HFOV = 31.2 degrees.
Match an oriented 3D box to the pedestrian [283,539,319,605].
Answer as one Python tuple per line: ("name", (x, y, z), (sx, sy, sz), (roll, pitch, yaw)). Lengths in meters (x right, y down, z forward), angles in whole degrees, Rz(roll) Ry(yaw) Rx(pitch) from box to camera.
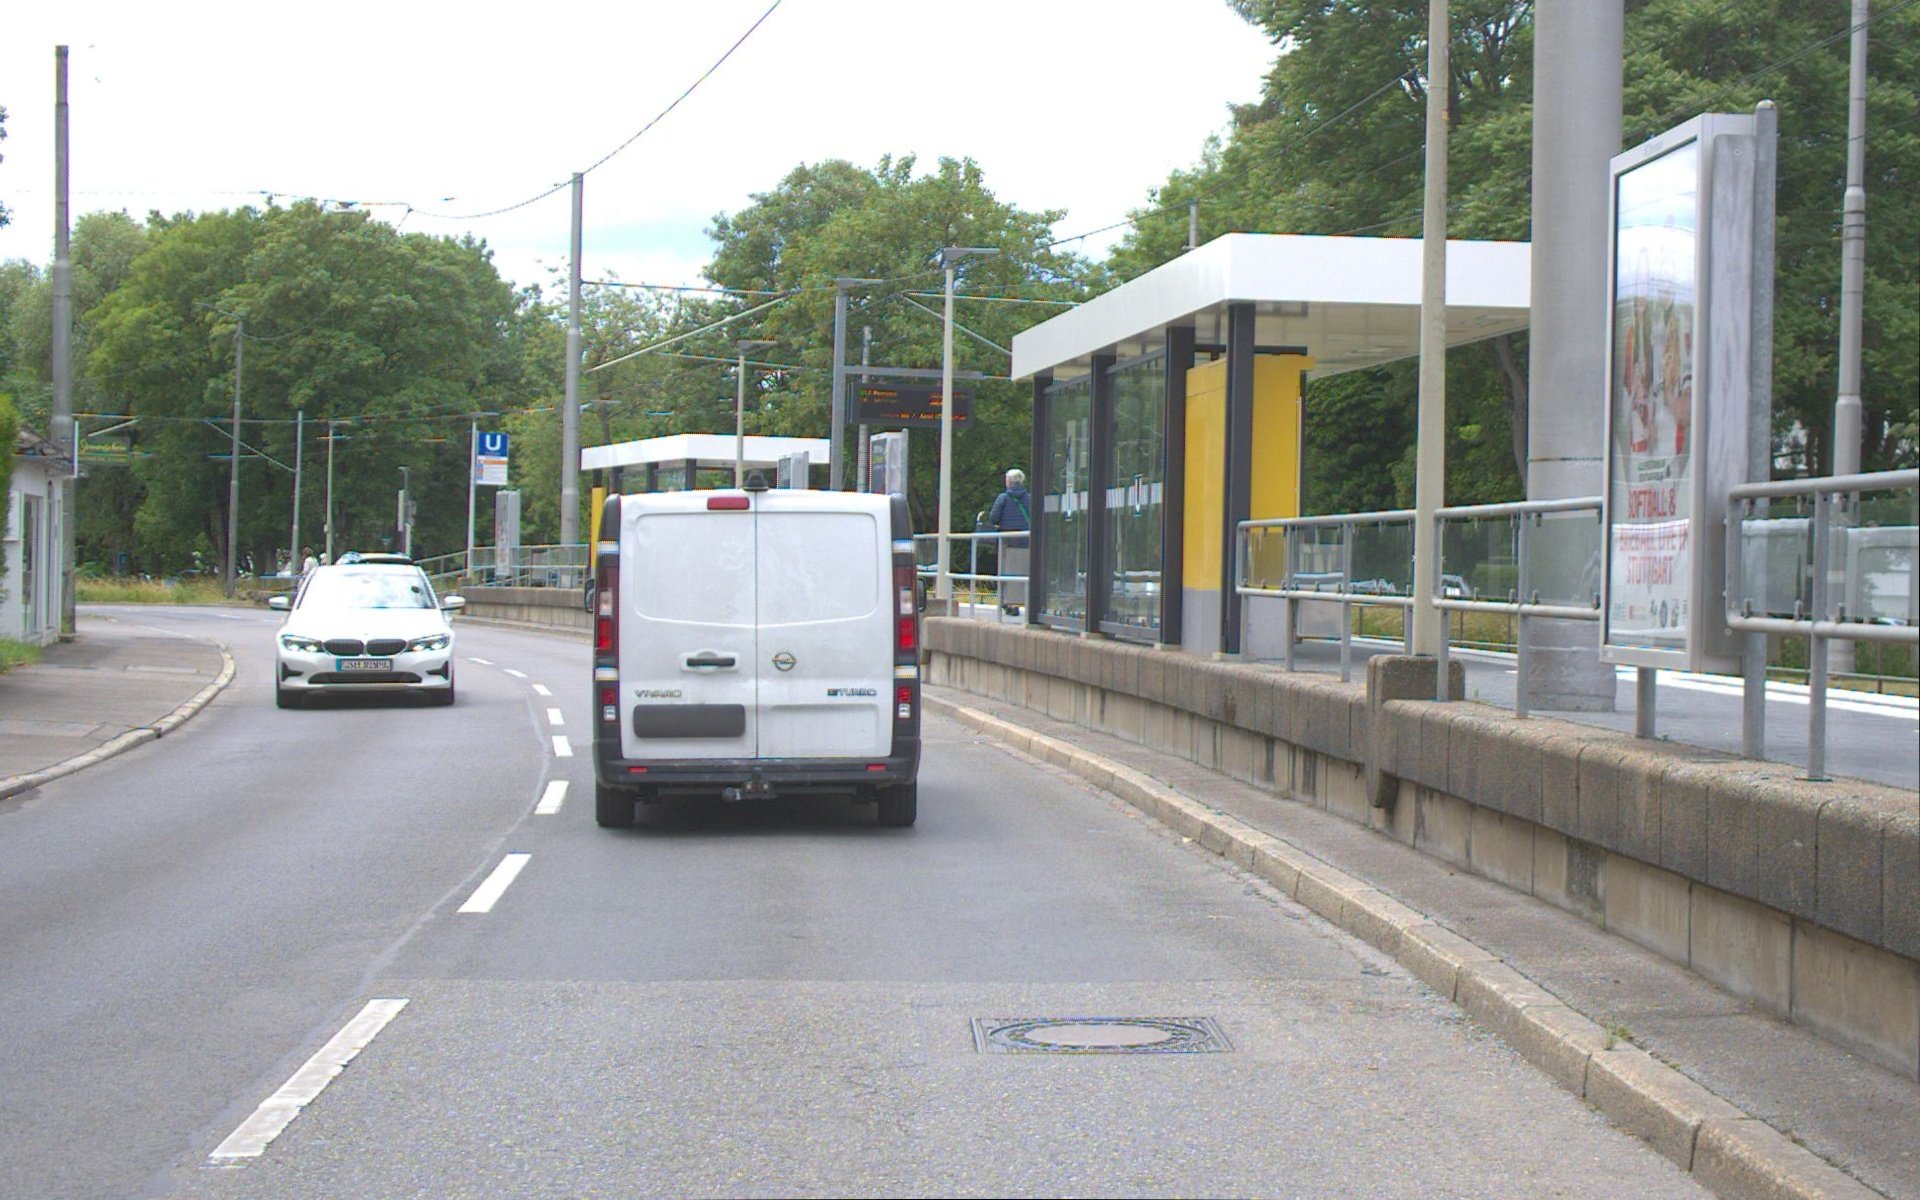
("pedestrian", (-18.262, -0.777, 95.280), (0.759, 1.789, 0.630), (1, 0, -42))

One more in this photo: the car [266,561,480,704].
("car", (-6.261, 0.307, 37.067), (1.818, 1.414, 4.464), (-1, 1, -4))

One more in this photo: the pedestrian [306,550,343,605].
("pedestrian", (-17.329, -0.601, 93.791), (0.759, 1.487, 0.630), (1, 0, -42))

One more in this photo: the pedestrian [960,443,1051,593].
("pedestrian", (0.514, -0.929, 39.234), (0.885, 1.665, 0.910), (1, 0, -7))

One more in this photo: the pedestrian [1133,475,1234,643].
("pedestrian", (1.759, -0.323, 27.147), (0.620, 1.294, 0.720), (1, 0, -9))

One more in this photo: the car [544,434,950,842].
("car", (-1.236, 0.188, 21.375), (2.117, 2.127, 5.441), (2, 0, -2))
